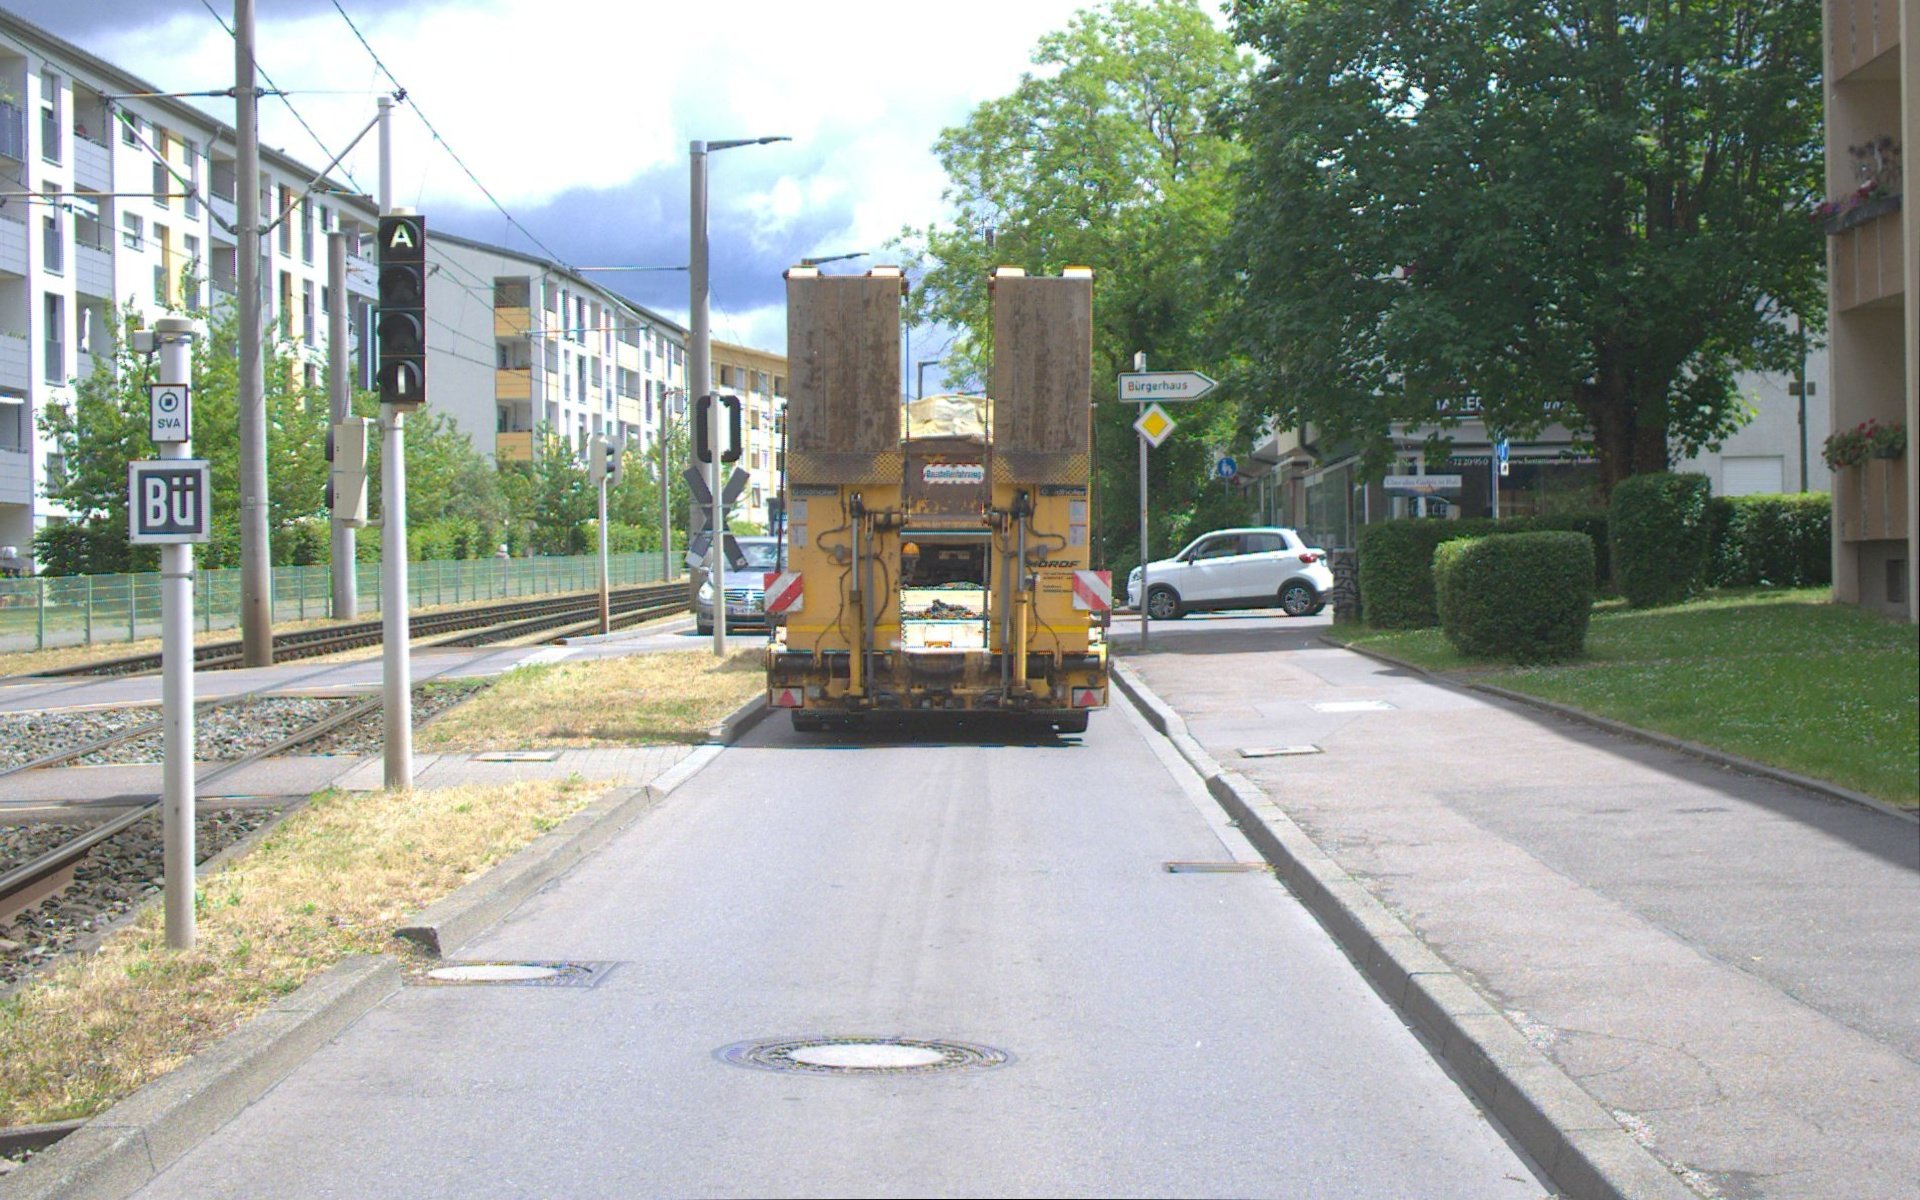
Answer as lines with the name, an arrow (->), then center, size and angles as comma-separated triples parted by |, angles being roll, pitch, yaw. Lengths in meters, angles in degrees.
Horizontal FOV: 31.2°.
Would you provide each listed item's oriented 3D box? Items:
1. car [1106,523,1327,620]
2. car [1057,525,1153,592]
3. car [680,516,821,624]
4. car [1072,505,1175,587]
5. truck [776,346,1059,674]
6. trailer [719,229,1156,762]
car -> 4.535, -0.512, 60.611 | 3.600, 1.579, 1.999 | -2, 1, 13
car -> 3.341, -0.977, 79.737 | 1.993, 1.382, 4.001 | -2, 2, 0
car -> -3.391, -0.494, 56.262 | 1.802, 1.646, 4.131 | -2, 1, 3
car -> 3.536, -1.209, 74.862 | 1.993, 1.612, 4.001 | -2, 2, 0
truck -> -0.585, -1.099, 39.897 | 2.833, 3.318, 7.986 | -2, 2, -2
trailer -> -0.369, -0.989, 30.790 | 3.050, 3.759, 11.614 | -2, 2, -2
